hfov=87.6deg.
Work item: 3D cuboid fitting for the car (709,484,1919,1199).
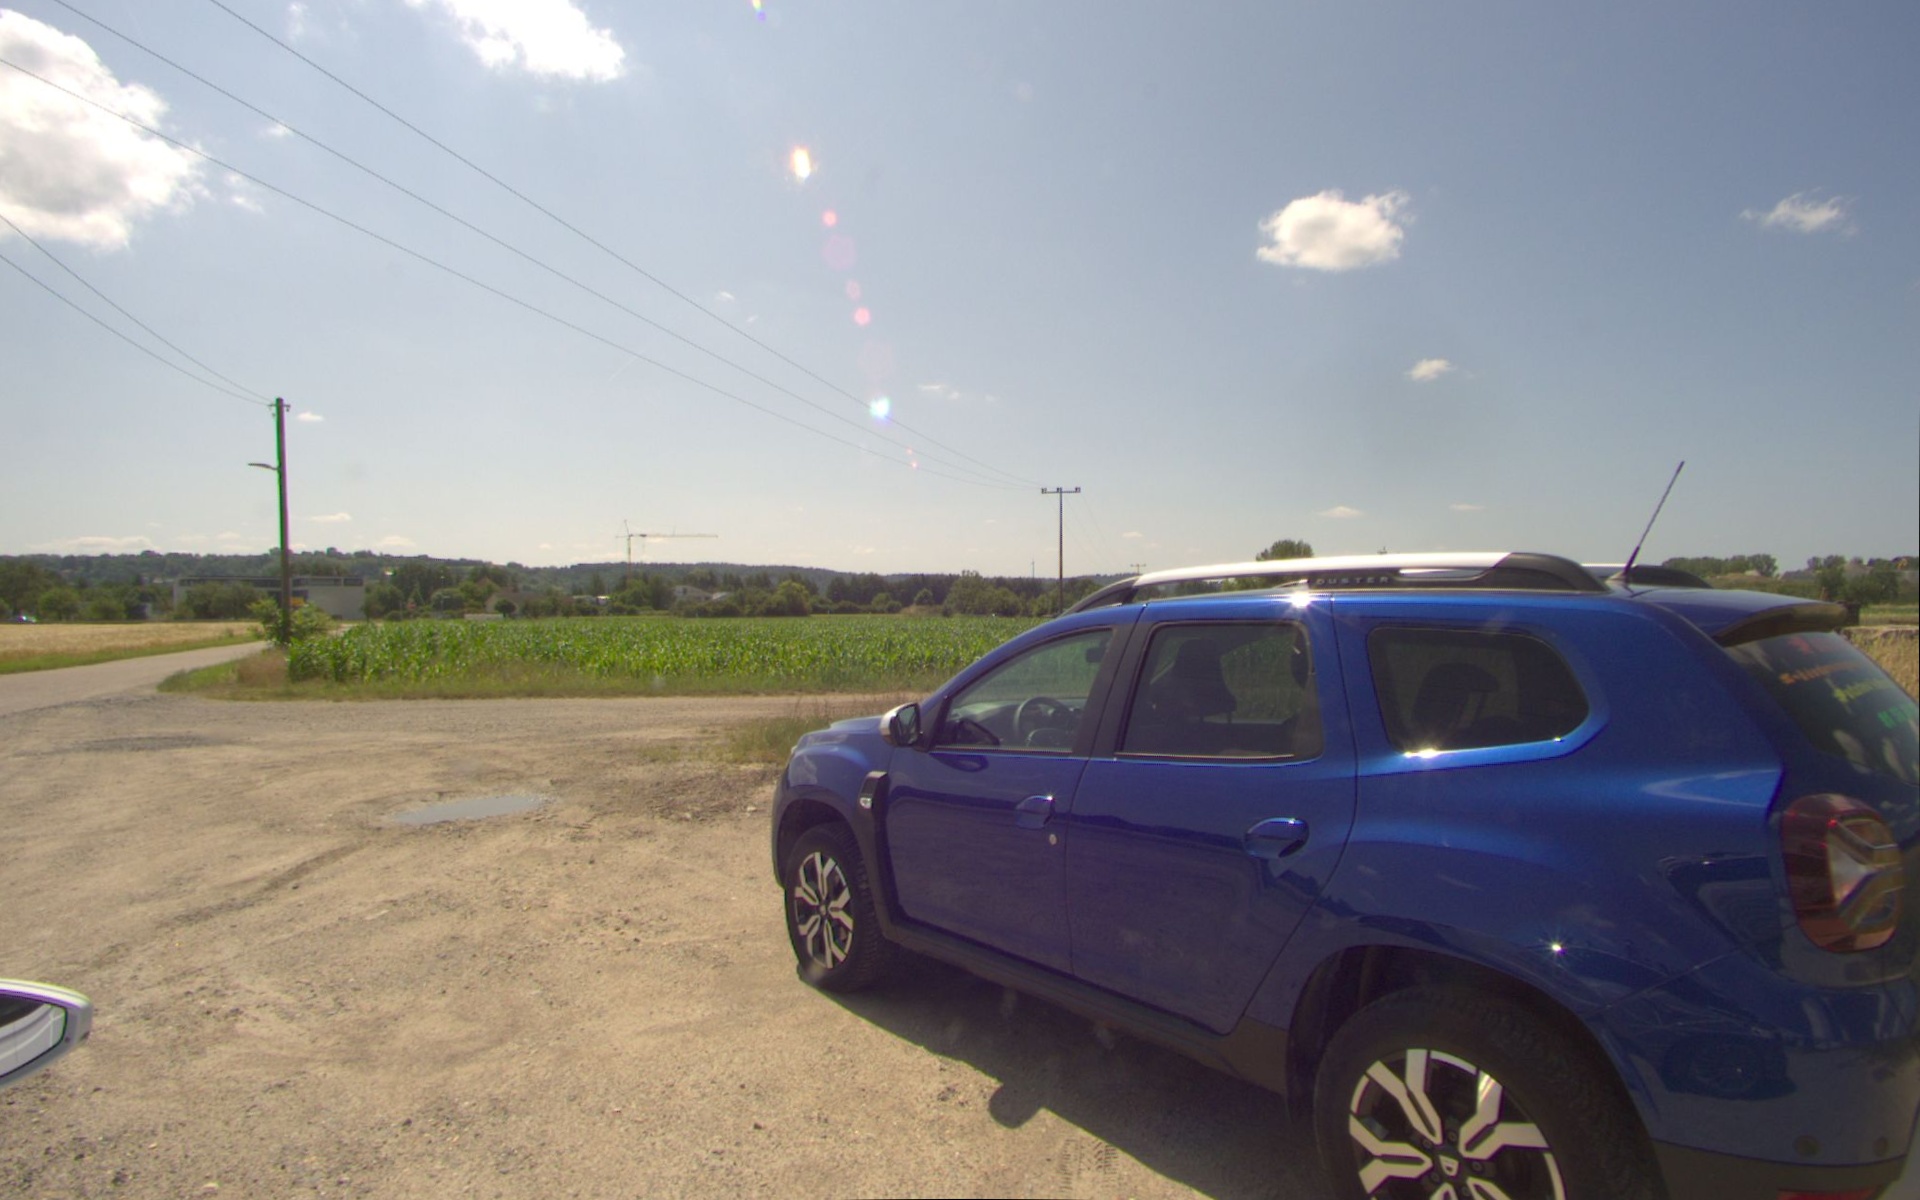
[{"bbox_3d":[0.875,0.732,3.709,1.843,1.682,4.423,1,-2,-39],"label":"car"}]
